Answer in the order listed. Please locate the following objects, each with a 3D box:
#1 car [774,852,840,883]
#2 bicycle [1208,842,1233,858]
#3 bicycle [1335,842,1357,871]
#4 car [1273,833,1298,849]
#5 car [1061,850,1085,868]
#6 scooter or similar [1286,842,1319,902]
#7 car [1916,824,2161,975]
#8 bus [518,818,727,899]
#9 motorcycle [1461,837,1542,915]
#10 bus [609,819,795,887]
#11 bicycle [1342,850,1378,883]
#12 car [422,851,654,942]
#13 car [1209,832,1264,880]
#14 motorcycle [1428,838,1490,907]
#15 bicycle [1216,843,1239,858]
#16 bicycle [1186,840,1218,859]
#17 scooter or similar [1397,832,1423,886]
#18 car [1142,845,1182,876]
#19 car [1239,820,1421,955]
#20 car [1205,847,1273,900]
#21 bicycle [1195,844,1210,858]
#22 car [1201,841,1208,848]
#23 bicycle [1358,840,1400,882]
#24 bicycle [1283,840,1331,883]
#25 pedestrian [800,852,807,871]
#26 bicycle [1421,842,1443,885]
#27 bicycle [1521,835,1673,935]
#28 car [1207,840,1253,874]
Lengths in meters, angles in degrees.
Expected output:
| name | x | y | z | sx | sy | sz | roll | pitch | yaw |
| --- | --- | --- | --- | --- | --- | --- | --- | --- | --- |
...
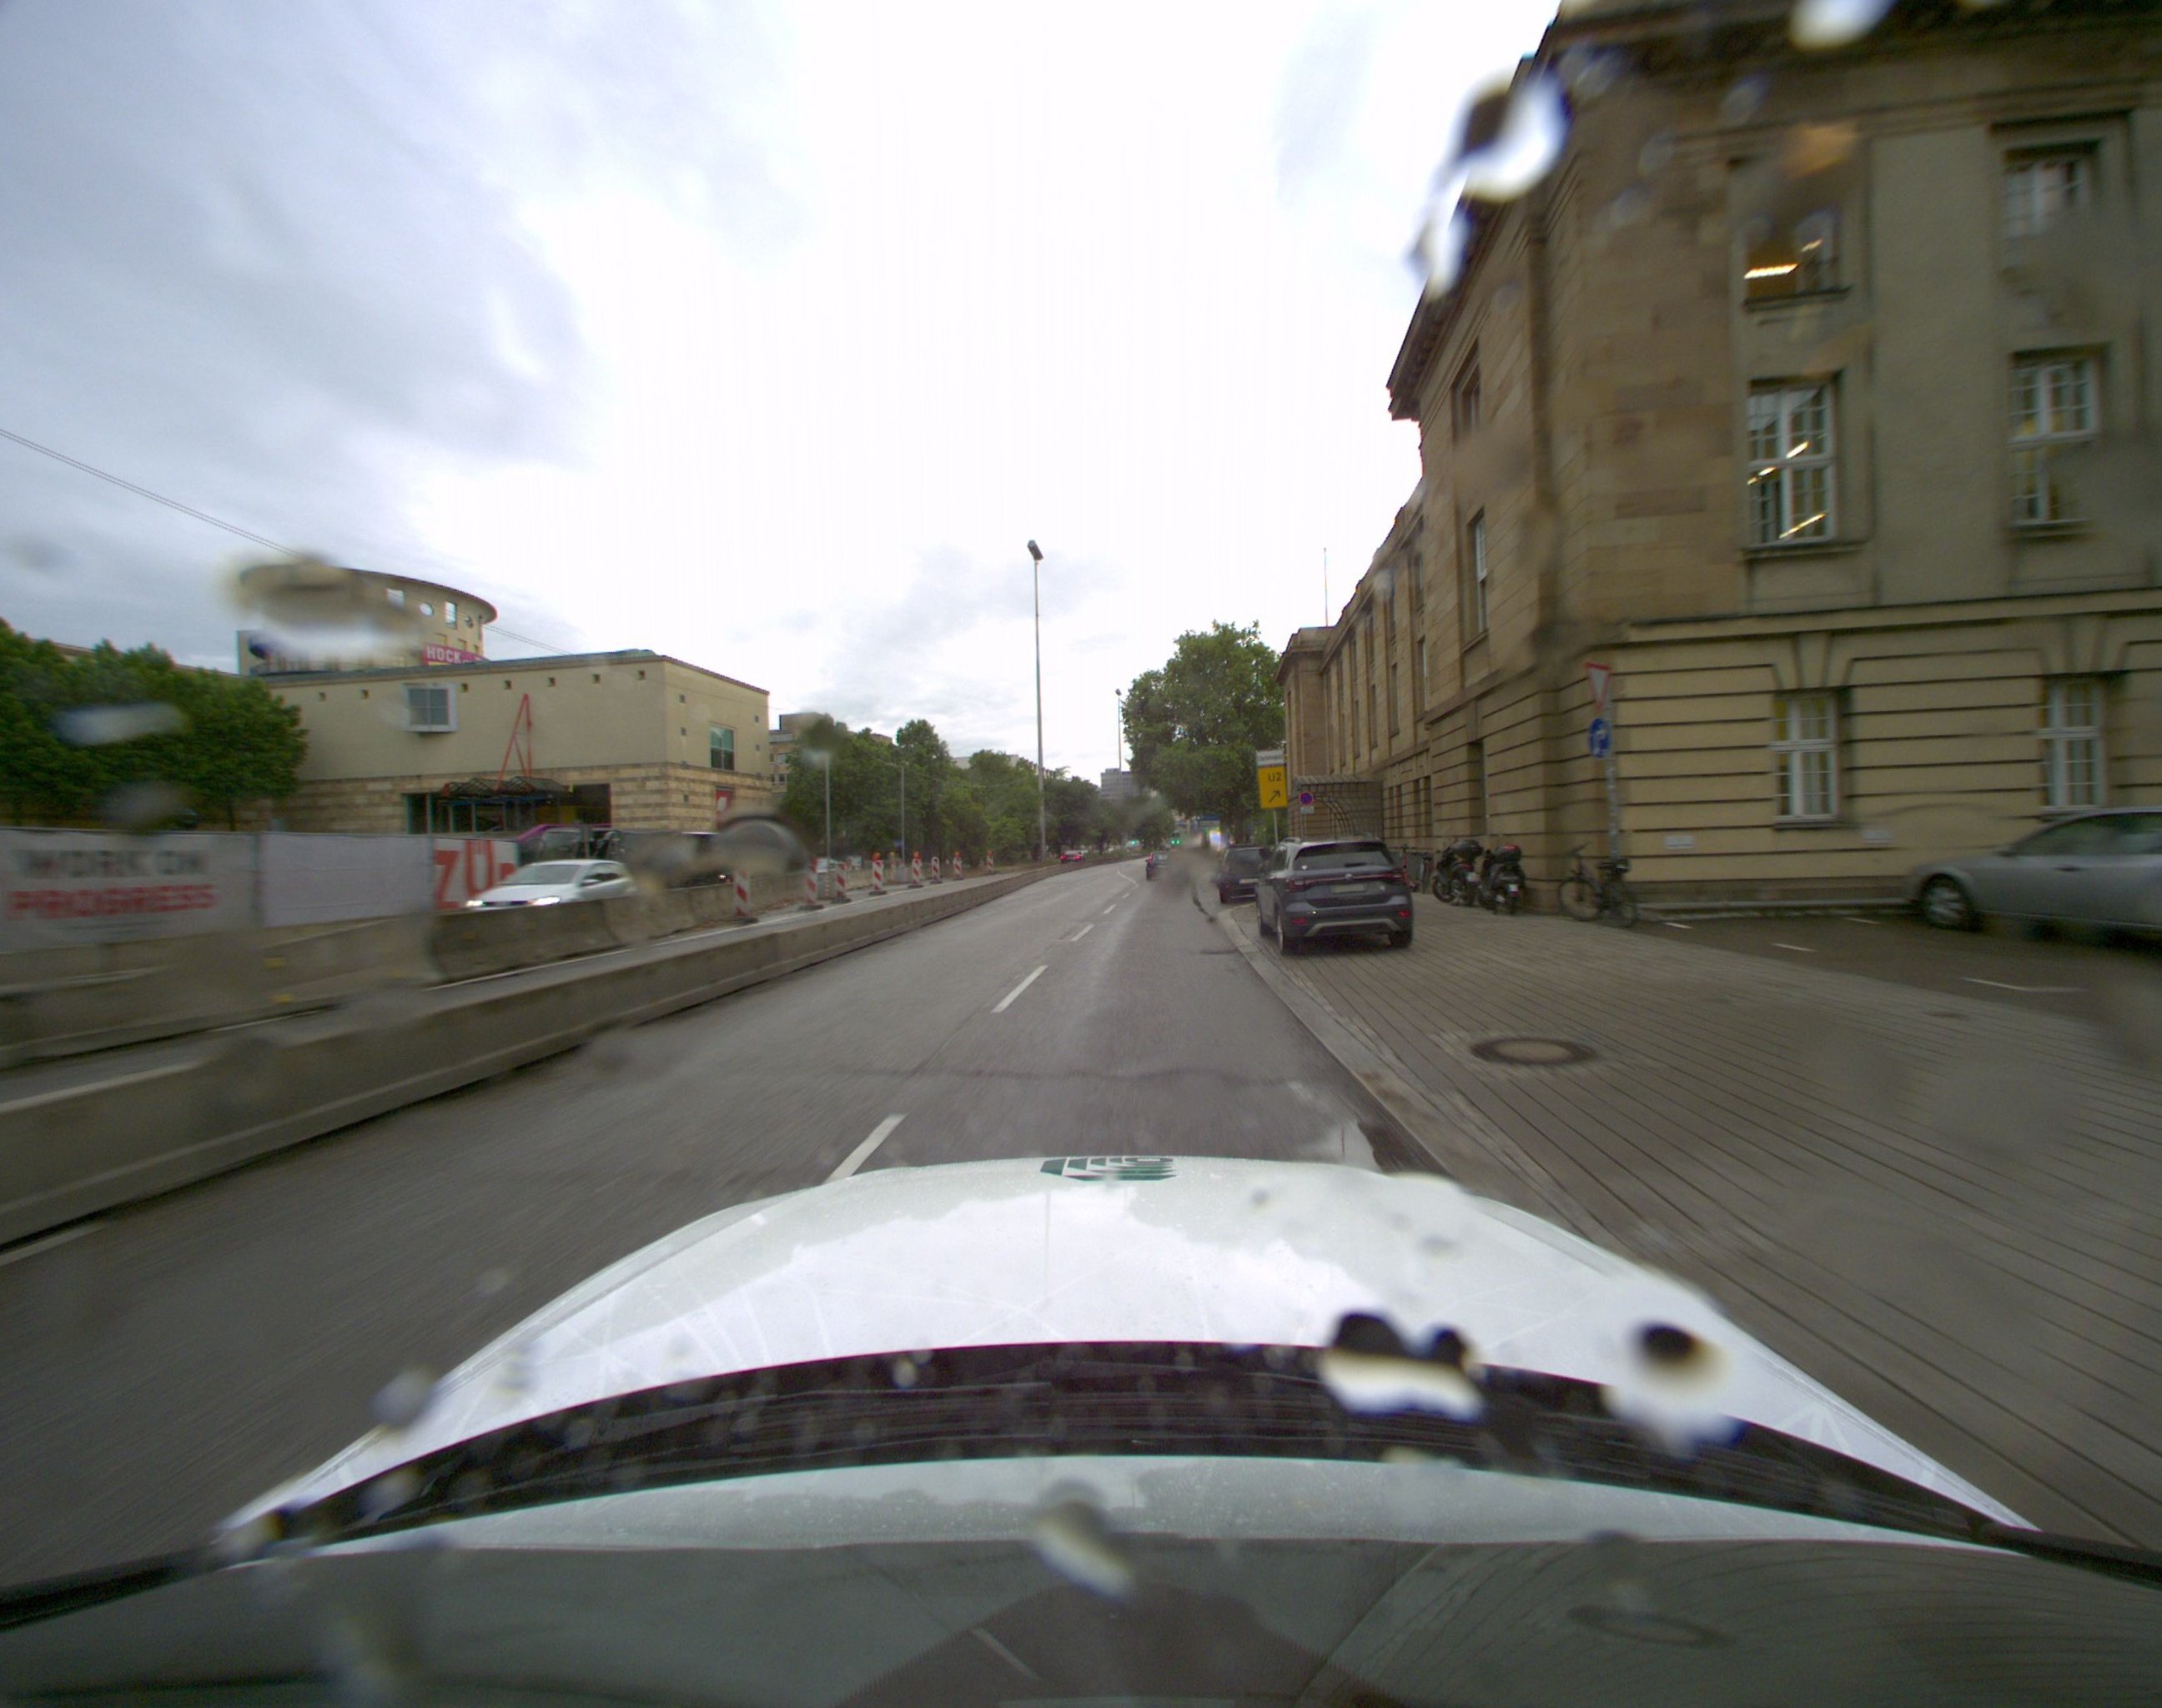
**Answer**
| name | x | y | z | sx | sy | sz | roll | pitch | yaw |
| --- | --- | --- | --- | --- | --- | --- | --- | --- | --- |
| car | -12.602 | 0.580 | 37.746 | 1.771 | 1.262 | 4.760 | 0 | 1 | -4 |
| bicycle | 9.634 | -0.277 | 56.350 | 1.669 | 1.090 | 0.652 | -1 | 0 | 9 |
| bicycle | 9.969 | 0.085 | 30.663 | 0.580 | 1.038 | 1.764 | -1 | 0 | 11 |
| car | 22.259 | -1.444 | 88.829 | 1.983 | 1.609 | 5.248 | -1 | 2 | 7 |
| car | -0.622 | 0.425 | 69.244 | 1.746 | 1.451 | 4.004 | 0 | 0 | 4 |
| scooter or similar | 4.768 | 0.370 | 17.549 | 0.431 | 1.216 | 1.124 | -4 | 0 | 5 |
| car | 10.962 | 0.409 | 8.053 | 1.512 | 1.410 | 4.136 | -2 | 0 | 7 |
| bus | -27.324 | 0.096 | 50.003 | 3.099 | 4.251 | 13.537 | 0 | 1 | 11 |
| motorcycle | 7.472 | 0.370 | 14.569 | 0.801 | 1.298 | 1.805 | -1 | 0 | 11 |
| bus | -23.770 | -0.219 | 52.811 | 2.786 | 3.810 | 14.644 | 0 | 1 | 11 |
| bicycle | 9.484 | 0.409 | 27.748 | 0.709 | 1.051 | 1.742 | -1 | 0 | 3 |
| car | -10.790 | 0.756 | 16.628 | 1.987 | 1.530 | 4.000 | -2 | 1 | 0 |
| car | 6.169 | 0.056 | 32.486 | 1.981 | 1.781 | 4.200 | -1 | 0 | 10 |
| motorcycle | 7.744 | 0.342 | 16.766 | 0.662 | 1.325 | 2.142 | -1 | 0 | 11 |
| bicycle | 10.496 | -0.261 | 58.335 | 1.580 | 0.994 | 0.526 | -1 | 1 | 9 |
| bicycle | 8.597 | -0.323 | 57.947 | 2.177 | 1.336 | 0.652 | -1 | 0 | 9 |
| scooter or similar | 8.901 | 0.135 | 22.068 | 0.410 | 1.417 | 1.272 | -1 | 0 | 12 |
| car | 4.053 | 0.313 | 41.294 | 1.835 | 1.416 | 3.844 | -3 | 0 | 4 |
| car | 3.533 | 0.378 | 12.383 | 1.861 | 1.619 | 4.413 | -2 | 1 | 7 |
| car | 4.558 | 0.515 | 23.295 | 1.747 | 1.414 | 3.163 | -1 | 0 | 12 |
| bicycle | 8.788 | -0.245 | 58.695 | 0.663 | 0.967 | 1.646 | -1 | 1 | 23 |
| car | 34.688 | -2.708 | 229.298 | 1.728 | 1.771 | 4.011 | -3 | 0 | 10 |
| bicycle | 9.436 | 0.219 | 25.843 | 0.727 | 1.268 | 1.760 | -2 | 0 | 3 |
| bicycle | 6.913 | 0.213 | 25.027 | 0.774 | 1.218 | 1.963 | -3 | 0 | -3 |
| pedestrian | -30.048 | 0.807 | 88.138 | 0.475 | 2.013 | 0.513 | -3 | 0 | 8 |
| bicycle | 9.107 | 0.229 | 21.176 | 0.415 | 1.049 | 1.781 | -1 | 0 | 20 |
| bicycle | 7.372 | 0.402 | 11.781 | 1.097 | 1.317 | 1.861 | -1 | 0 | 4 |
| car | 6.824 | 0.117 | 37.638 | 1.921 | 1.478 | 3.711 | -1 | 0 | 8 |
